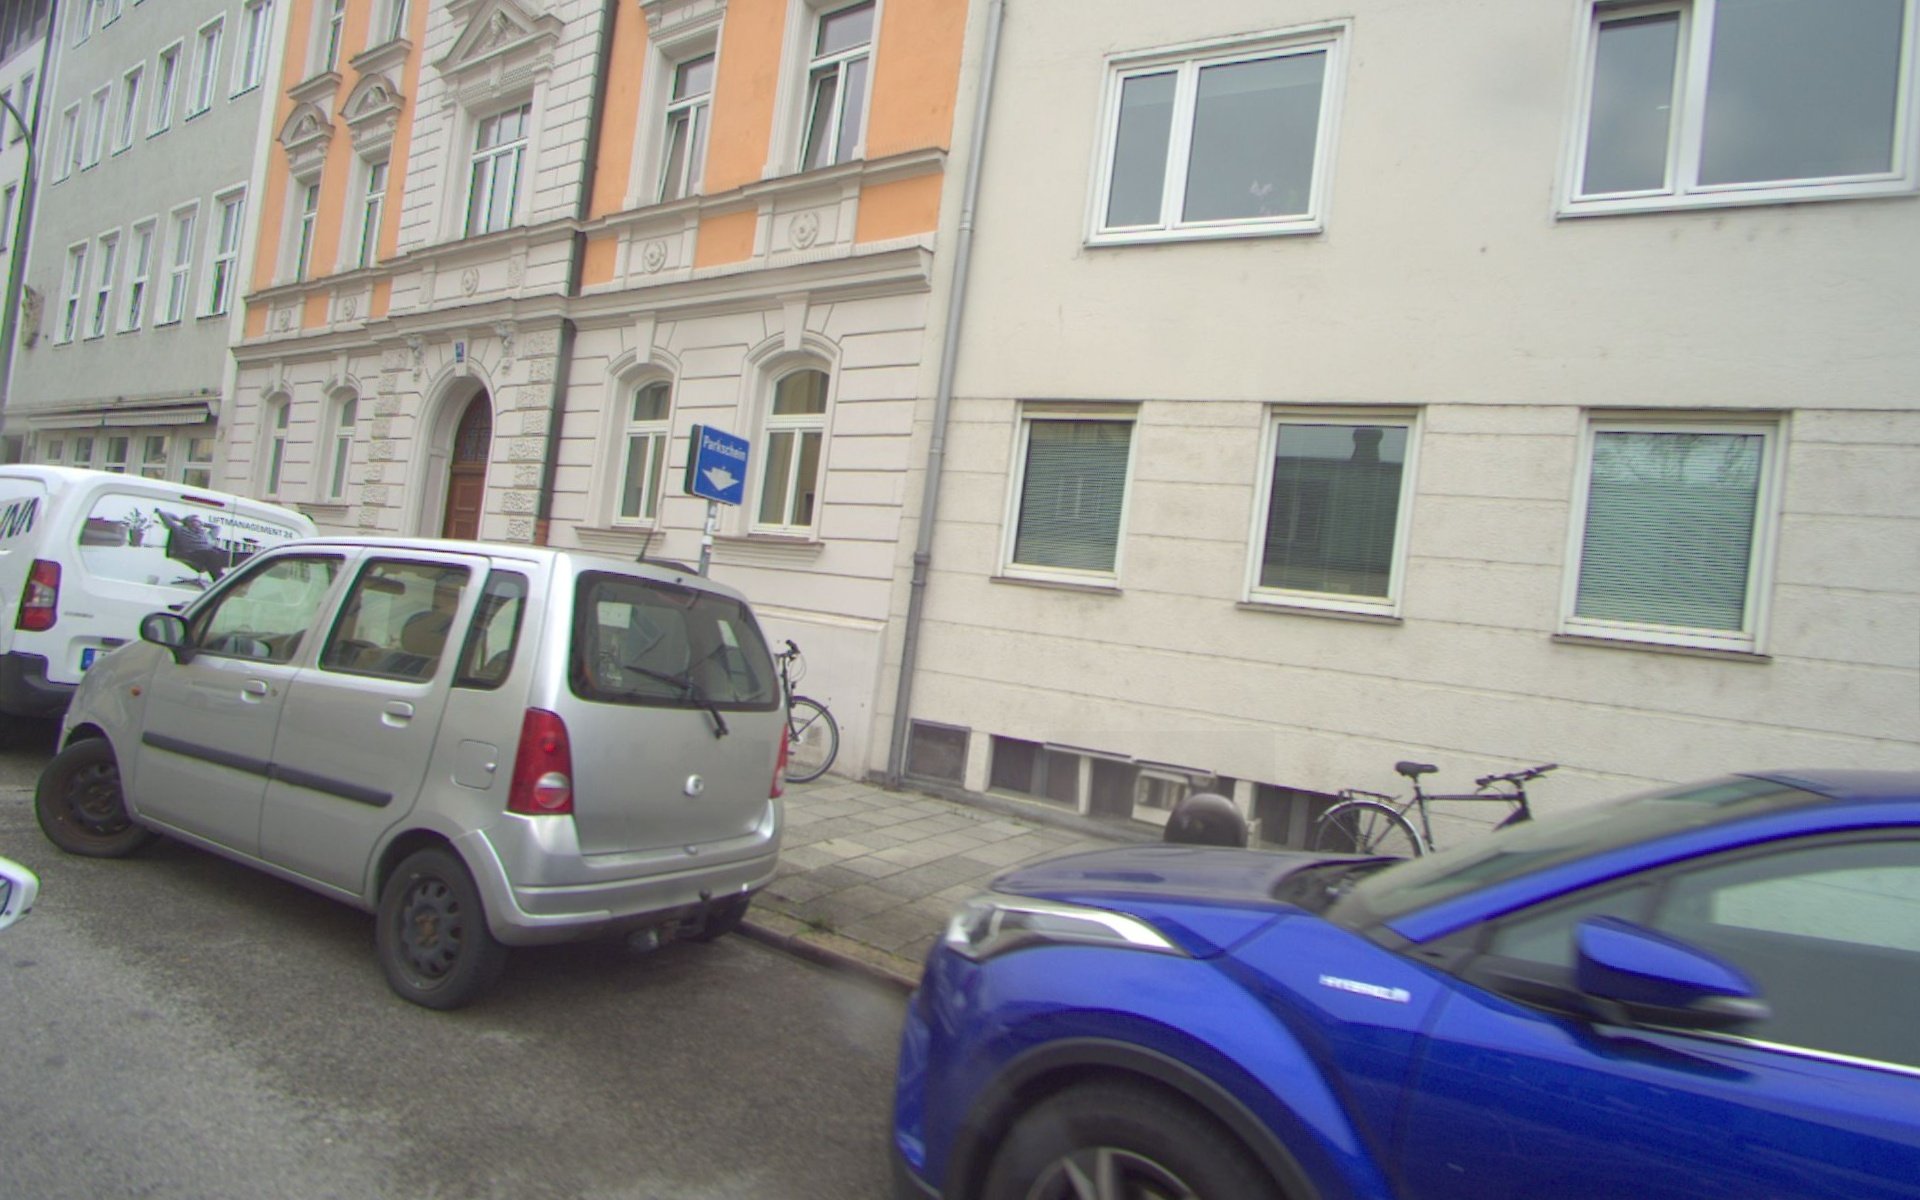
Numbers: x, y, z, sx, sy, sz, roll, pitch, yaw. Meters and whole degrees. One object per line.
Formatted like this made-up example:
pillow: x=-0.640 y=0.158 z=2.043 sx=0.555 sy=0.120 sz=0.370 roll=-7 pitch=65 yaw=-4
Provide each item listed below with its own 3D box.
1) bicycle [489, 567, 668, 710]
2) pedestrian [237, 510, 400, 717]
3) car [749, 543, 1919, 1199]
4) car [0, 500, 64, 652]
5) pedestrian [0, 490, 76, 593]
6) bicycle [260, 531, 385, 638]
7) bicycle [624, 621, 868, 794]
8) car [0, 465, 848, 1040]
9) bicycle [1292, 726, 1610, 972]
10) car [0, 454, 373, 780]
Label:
bicycle: x=-4.080 y=0.376 z=10.664 sx=2.062 sy=1.198 sz=0.651 roll=9 pitch=3 yaw=36
pedestrian: x=-5.607 y=0.134 z=8.816 sx=0.636 sy=1.682 sz=0.862 roll=7 pitch=0 yaw=33
car: x=1.782 y=0.975 z=2.049 sx=4.132 sy=1.605 sz=1.744 roll=7 pitch=-2 yaw=33
car: x=-11.395 y=-0.468 z=10.666 sx=4.230 sy=1.468 sz=1.601 roll=6 pitch=-1 yaw=32
pedestrian: x=-15.933 y=-1.002 z=17.374 sx=0.815 sy=1.646 sz=0.734 roll=7 pitch=1 yaw=34
bicycle: x=-8.782 y=-0.235 z=13.820 sx=2.062 sy=1.198 sz=0.651 roll=9 pitch=3 yaw=36
bicycle: x=-1.837 y=0.878 z=8.567 sx=1.921 sy=1.134 sz=0.669 roll=7 pitch=-1 yaw=27
car: x=-2.553 y=0.456 z=4.690 sx=3.567 sy=1.660 sz=1.609 roll=7 pitch=-3 yaw=27
bicycle: x=3.080 y=1.508 z=6.425 sx=1.623 sy=1.134 sz=0.669 roll=7 pitch=-1 yaw=27
car: x=-6.750 y=-0.019 z=7.657 sx=4.816 sy=1.805 sz=1.844 roll=7 pitch=-3 yaw=34
